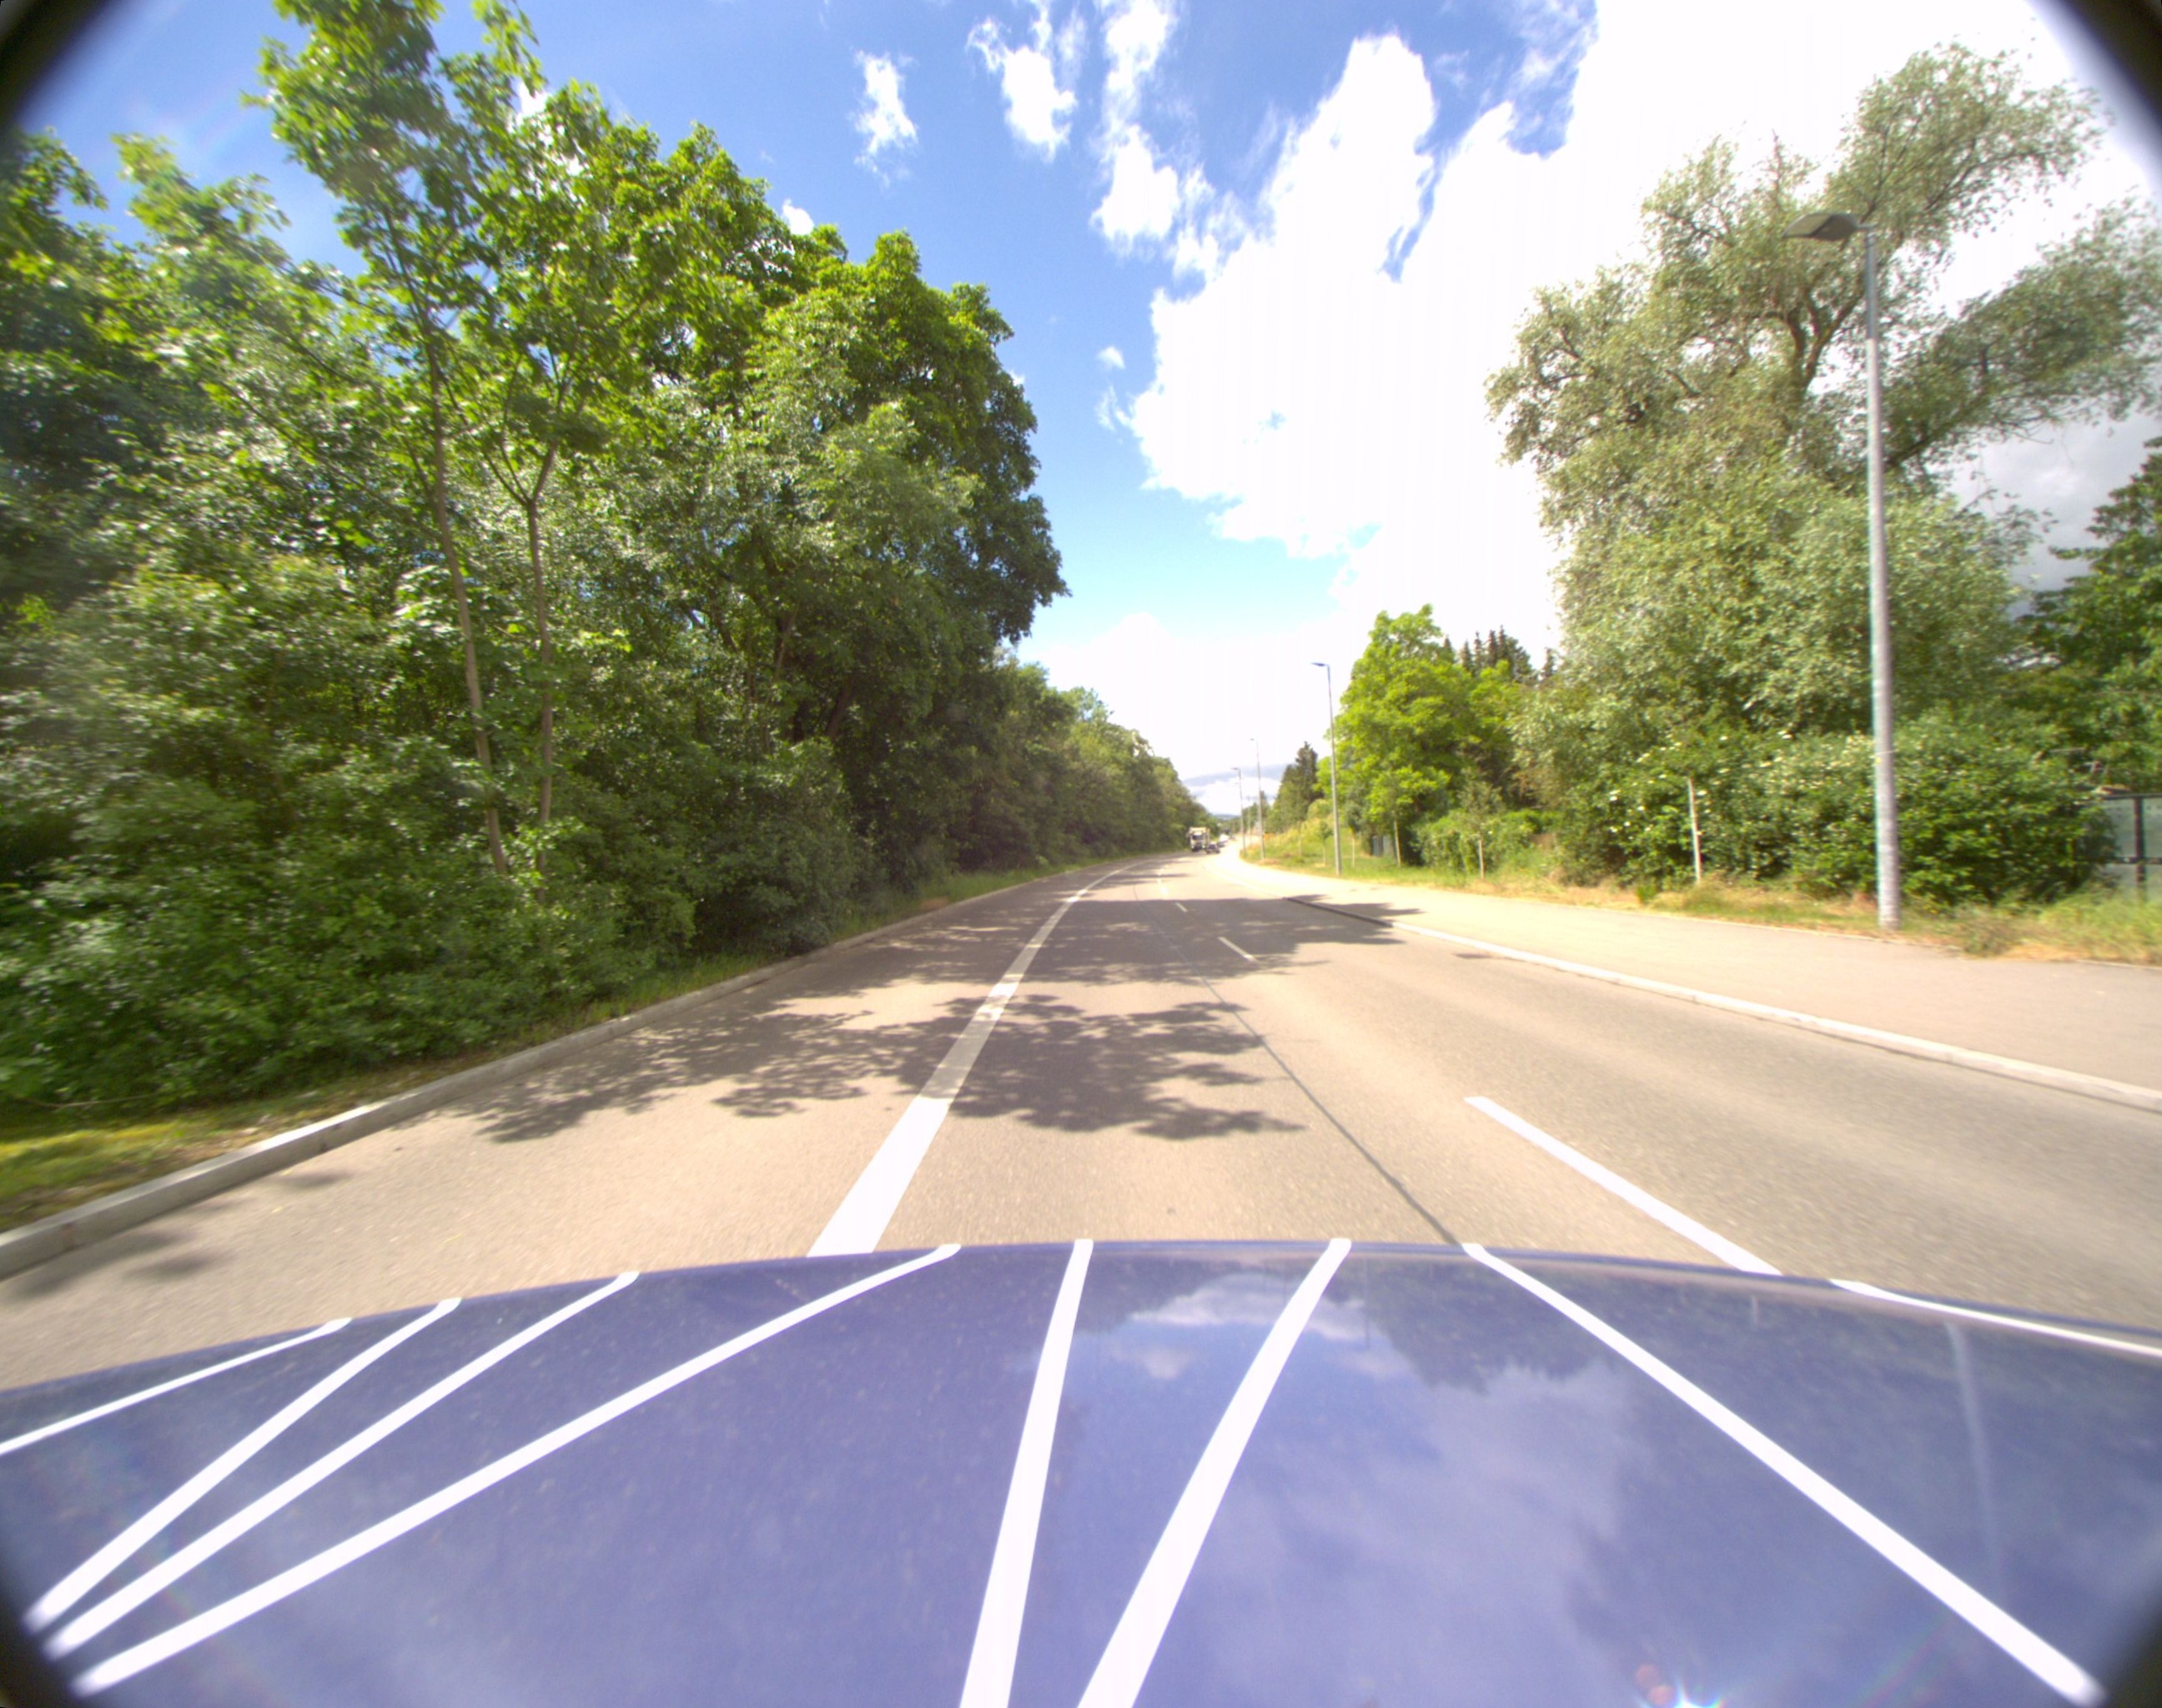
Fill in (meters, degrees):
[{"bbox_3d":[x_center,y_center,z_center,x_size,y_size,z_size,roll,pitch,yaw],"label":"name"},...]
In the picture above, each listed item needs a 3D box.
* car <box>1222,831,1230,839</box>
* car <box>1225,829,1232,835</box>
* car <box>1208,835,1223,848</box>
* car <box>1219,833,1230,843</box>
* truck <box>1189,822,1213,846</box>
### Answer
[{"bbox_3d":[40.517,-5.285,212.257,1.997,2.212,4.003,-2,1,12],"label":"car"},{"bbox_3d":[49.527,-7.339,254.949,1.997,2.002,4.003,-3,1,11],"label":"car"},{"bbox_3d":[19.096,-1.788,107.520,1.801,1.652,4.003,-2,1,13],"label":"car"},{"bbox_3d":[30.366,-3.418,160.755,1.997,2.002,4.002,-2,1,12],"label":"car"},{"bbox_3d":[20.017,-3.342,126.479,3.238,3.839,9.880,-2,1,13],"label":"truck"}]
